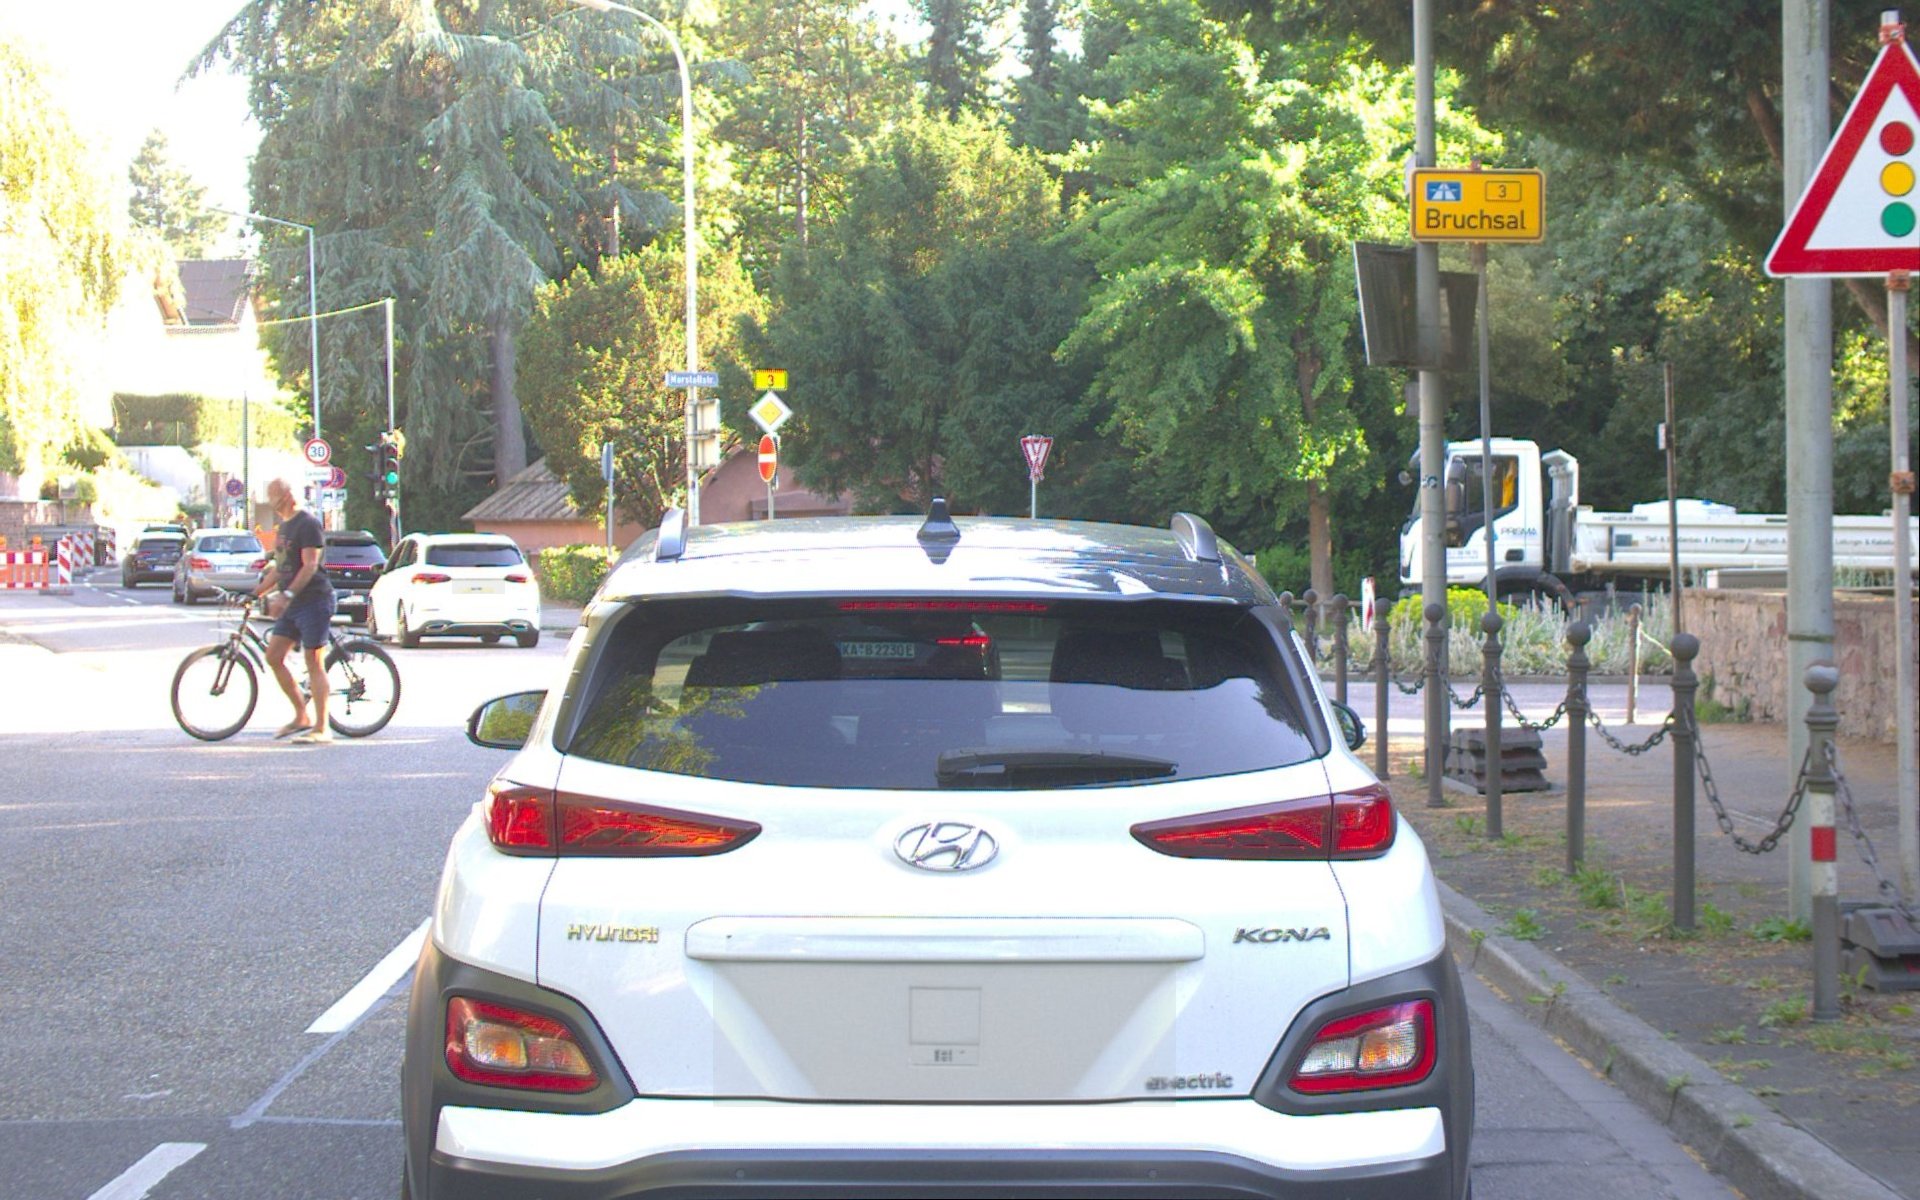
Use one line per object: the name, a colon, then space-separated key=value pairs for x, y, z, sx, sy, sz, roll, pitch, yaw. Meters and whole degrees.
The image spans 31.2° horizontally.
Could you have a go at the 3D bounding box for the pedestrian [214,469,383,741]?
pedestrian: x=-4.524 y=0.030 z=23.527 sx=0.940 sy=1.820 sz=0.554 roll=1 pitch=2 yaw=-39

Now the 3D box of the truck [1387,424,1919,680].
truck: x=8.606 y=-0.594 z=41.923 sx=6.588 sy=2.885 sz=2.433 roll=2 pitch=1 yaw=5

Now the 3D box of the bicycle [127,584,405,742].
bicycle: x=-4.825 y=0.428 z=23.962 sx=1.812 sy=1.039 sz=0.561 roll=1 pitch=3 yaw=-37

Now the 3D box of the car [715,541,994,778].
car: x=-0.684 y=0.334 z=23.679 sx=1.708 sy=1.429 sz=4.365 roll=1 pitch=1 yaw=-1

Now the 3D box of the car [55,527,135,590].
car: x=-24.232 y=-1.183 z=96.210 sx=1.831 sy=1.656 sz=4.001 roll=1 pitch=1 yaw=-19

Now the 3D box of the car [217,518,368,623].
car: x=-11.291 y=-0.524 z=57.983 sx=1.831 sy=1.656 sz=4.001 roll=1 pitch=1 yaw=-20

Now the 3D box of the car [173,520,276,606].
car: x=-15.688 y=-0.807 z=73.187 sx=1.831 sy=1.735 sz=4.001 roll=1 pitch=1 yaw=-16

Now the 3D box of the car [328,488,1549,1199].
car: x=-0.069 y=0.596 z=7.200 sx=1.820 sy=1.568 sz=4.000 roll=1 pitch=1 yaw=-1

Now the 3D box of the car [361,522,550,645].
car: x=-6.825 y=-0.252 z=46.222 sx=1.805 sy=1.532 sz=4.001 roll=1 pitch=1 yaw=-19

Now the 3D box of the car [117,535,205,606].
car: x=-20.059 y=-0.756 z=86.206 sx=1.831 sy=1.656 sz=4.001 roll=1 pitch=1 yaw=-18
